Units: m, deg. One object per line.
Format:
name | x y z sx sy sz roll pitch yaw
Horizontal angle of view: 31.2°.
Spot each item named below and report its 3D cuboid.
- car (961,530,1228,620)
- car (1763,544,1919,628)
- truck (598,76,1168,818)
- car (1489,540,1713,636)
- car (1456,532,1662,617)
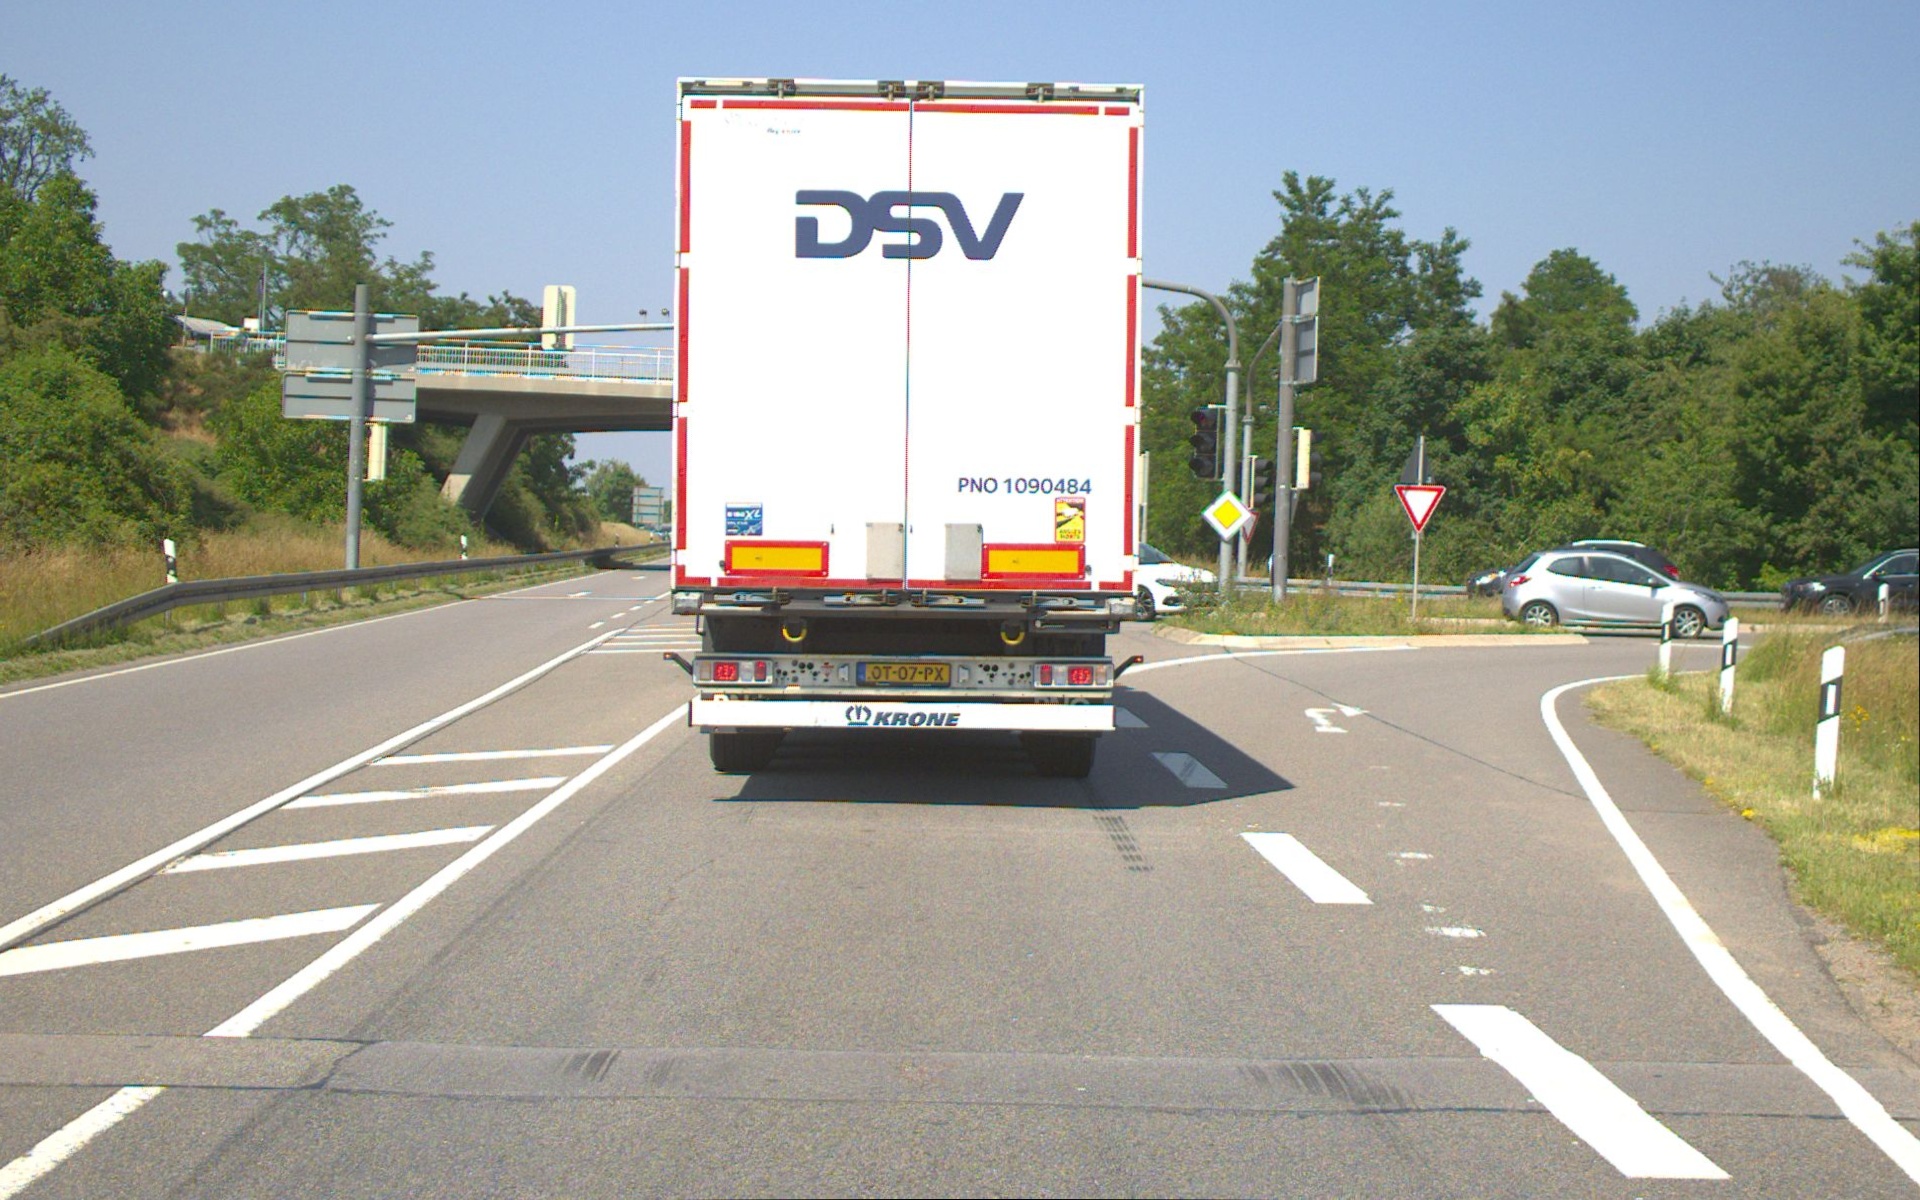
car | 2.409 -0.450 61.282 4.472 1.561 1.738 0 1 15
car | 18.312 -0.263 67.936 4.486 1.592 1.767 1 0 3
truck | -0.469 -0.893 23.416 2.987 3.928 9.876 1 1 -1
car | 11.024 -0.206 59.348 3.682 1.561 1.739 1 0 8
car | 12.166 -0.515 70.028 3.986 1.634 1.841 1 0 6
